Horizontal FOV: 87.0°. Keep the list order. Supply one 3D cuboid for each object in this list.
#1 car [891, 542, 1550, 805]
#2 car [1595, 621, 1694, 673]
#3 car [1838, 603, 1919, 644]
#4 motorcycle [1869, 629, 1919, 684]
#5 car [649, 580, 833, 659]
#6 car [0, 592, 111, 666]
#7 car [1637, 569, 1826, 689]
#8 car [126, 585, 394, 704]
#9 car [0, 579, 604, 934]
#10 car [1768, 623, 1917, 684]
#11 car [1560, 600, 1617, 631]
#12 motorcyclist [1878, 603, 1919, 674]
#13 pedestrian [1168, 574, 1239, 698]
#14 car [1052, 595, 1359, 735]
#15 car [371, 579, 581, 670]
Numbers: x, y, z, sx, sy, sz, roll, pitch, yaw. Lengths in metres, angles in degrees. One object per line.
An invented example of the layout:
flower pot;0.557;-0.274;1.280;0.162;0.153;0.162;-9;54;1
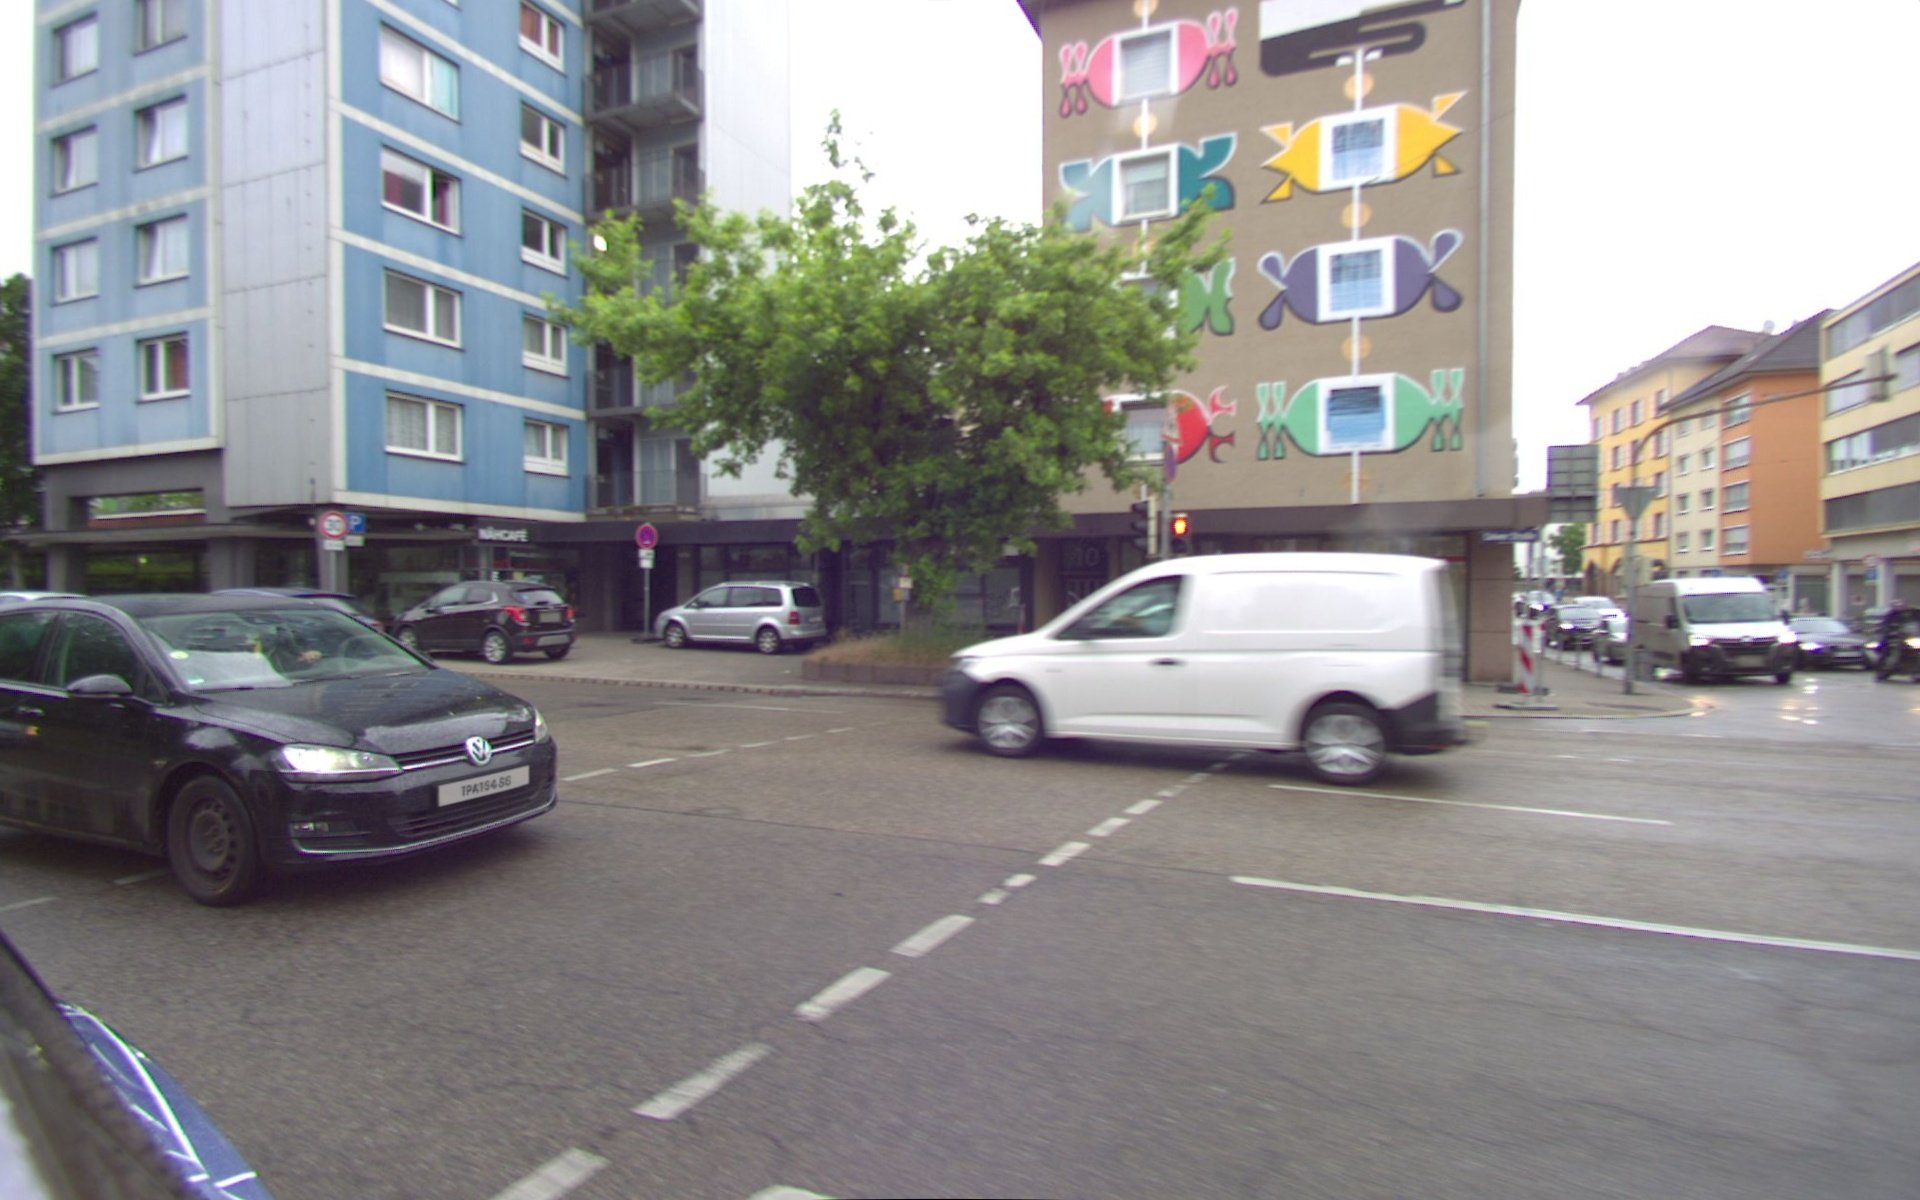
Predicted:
car;2.042;0.502;8.725;5.086;1.781;1.743;0;-1;25
car;21.337;1.439;31.706;1.838;1.490;3.541;-3;-2;23
car;38.512;0.966;41.974;1.838;1.579;4.335;-3;-2;23
motorcycle;20.361;1.193;21.604;0.874;1.108;1.786;0;-1;22
car;-5.295;0.411;24.446;4.159;1.678;1.638;2;2;23
car;-21.065;0.624;22.636;3.693;1.531;1.638;0;-2;23
car;18.296;0.706;24.363;2.219;2.543;5.428;-2;-2;23
car;-10.111;0.584;14.632;3.429;1.547;1.604;0;0;23
car;-4.220;0.621;5.708;4.140;1.435;1.675;0;1;23
car;22.828;1.346;26.349;1.838;1.430;3.541;-3;-2;23
car;31.675;0.809;51.061;1.838;1.430;3.541;-3;-2;23
motorcyclist;20.371;0.810;21.636;0.874;1.490;0.790;0;-1;23
pedestrian;3.654;0.522;15.140;0.898;1.787;0.812;1;-1;22
car;2.995;0.705;12.270;3.419;1.495;1.695;0;-1;22
car;-10.172;0.445;21.254;4.159;1.678;1.638;2;2;23
